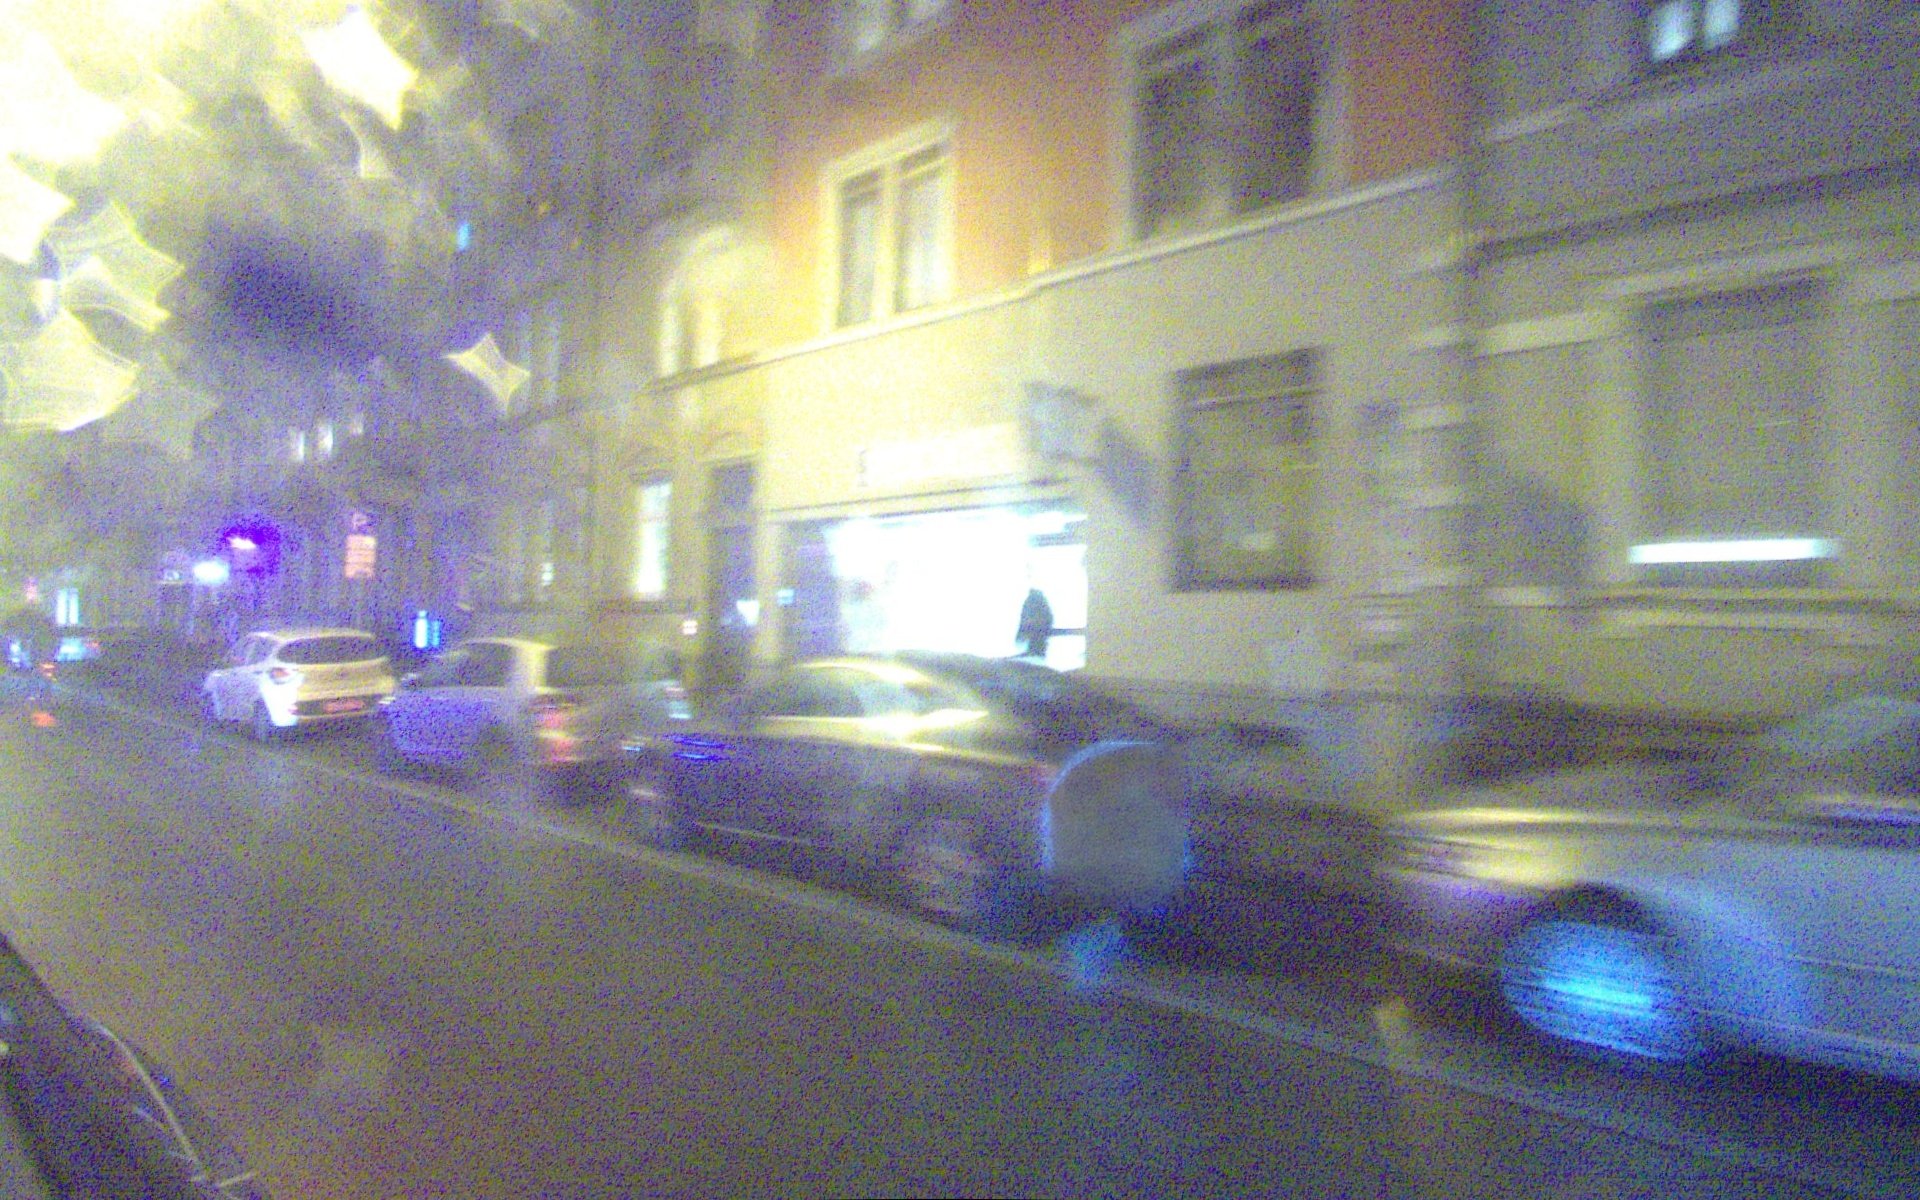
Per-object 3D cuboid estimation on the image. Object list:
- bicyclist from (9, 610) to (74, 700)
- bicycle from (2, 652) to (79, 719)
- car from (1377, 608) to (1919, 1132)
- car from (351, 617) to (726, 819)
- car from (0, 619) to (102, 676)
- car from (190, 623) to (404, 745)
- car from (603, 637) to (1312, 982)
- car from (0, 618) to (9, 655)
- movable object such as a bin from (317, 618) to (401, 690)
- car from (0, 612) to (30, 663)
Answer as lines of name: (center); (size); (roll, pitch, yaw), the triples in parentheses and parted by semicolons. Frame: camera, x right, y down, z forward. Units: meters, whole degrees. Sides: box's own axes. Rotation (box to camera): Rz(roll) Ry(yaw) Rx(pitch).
bicyclist: (-16.456, 0.976, 18.128); (0.895, 1.568, 0.711); (-1, -3, 41)
bicycle: (-16.419, 1.489, 18.045); (2.347, 1.081, 0.720); (-1, -3, 41)
car: (3.812, 0.781, 3.163); (4.304, 1.492, 1.813); (-1, -2, 41)
car: (-4.280, 0.976, 9.983); (4.132, 1.584, 1.756); (-1, -2, 41)
car: (-26.839, 1.344, 29.813); (4.771, 1.494, 1.749); (-1, 1, 42)
car: (-9.623, 1.092, 14.588); (3.720, 1.502, 1.654); (-1, -1, 41)
car: (-0.280, 0.961, 6.427); (4.423, 1.400, 1.803); (-1, -2, 41)
car: (-40.560, 1.496, 41.777); (3.718, 1.471, 1.552); (-1, -2, 42)
movable object such as a bin: (-12.796, 1.127, 21.558); (1.377, 1.465, 1.090); (-1, -3, 39)
car: (-36.343, 1.373, 37.695); (5.205, 1.843, 1.975); (-1, -2, 42)
